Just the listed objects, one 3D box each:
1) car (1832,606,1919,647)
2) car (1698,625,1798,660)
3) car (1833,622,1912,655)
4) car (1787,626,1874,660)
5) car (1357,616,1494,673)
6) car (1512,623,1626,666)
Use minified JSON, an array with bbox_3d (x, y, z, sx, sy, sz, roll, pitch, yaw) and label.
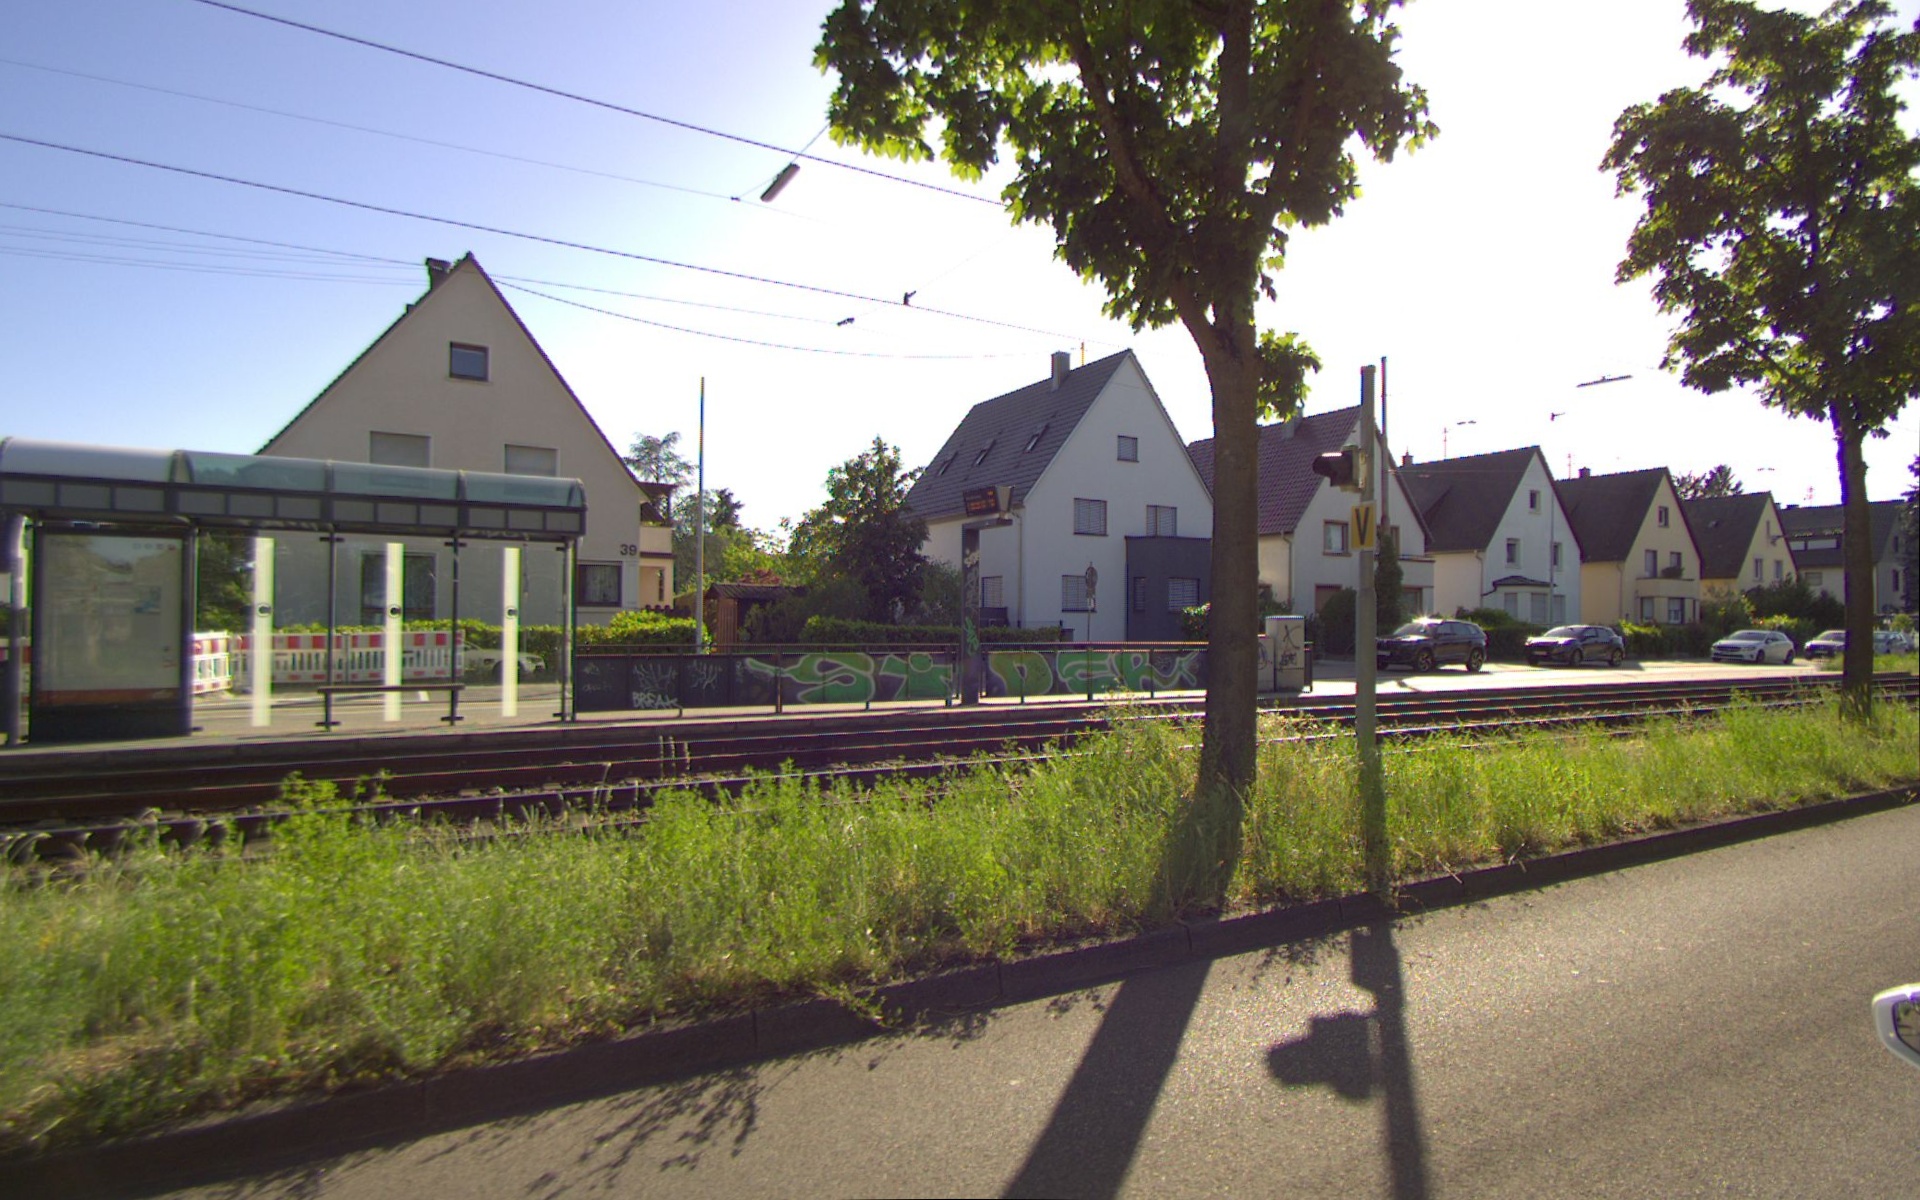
[{"bbox_3d":[61.911,1.771,67.195,2.077,2.660,5.006,0,-1,-29],"label":"car"},{"bbox_3d":[35.187,1.904,44.831,4.356,1.445,1.985,1,0,-29],"label":"car"},{"bbox_3d":[46.904,1.980,51.617,4.009,1.574,1.937,1,0,-30],"label":"car"},{"bbox_3d":[42.665,2.085,49.225,4.079,1.469,1.983,1,2,-30],"label":"car"},{"bbox_3d":[15.401,1.455,33.203,4.339,1.736,1.984,1,0,-31],"label":"car"},{"bbox_3d":[22.975,1.664,37.896,4.206,1.515,1.916,1,0,-31],"label":"car"}]
